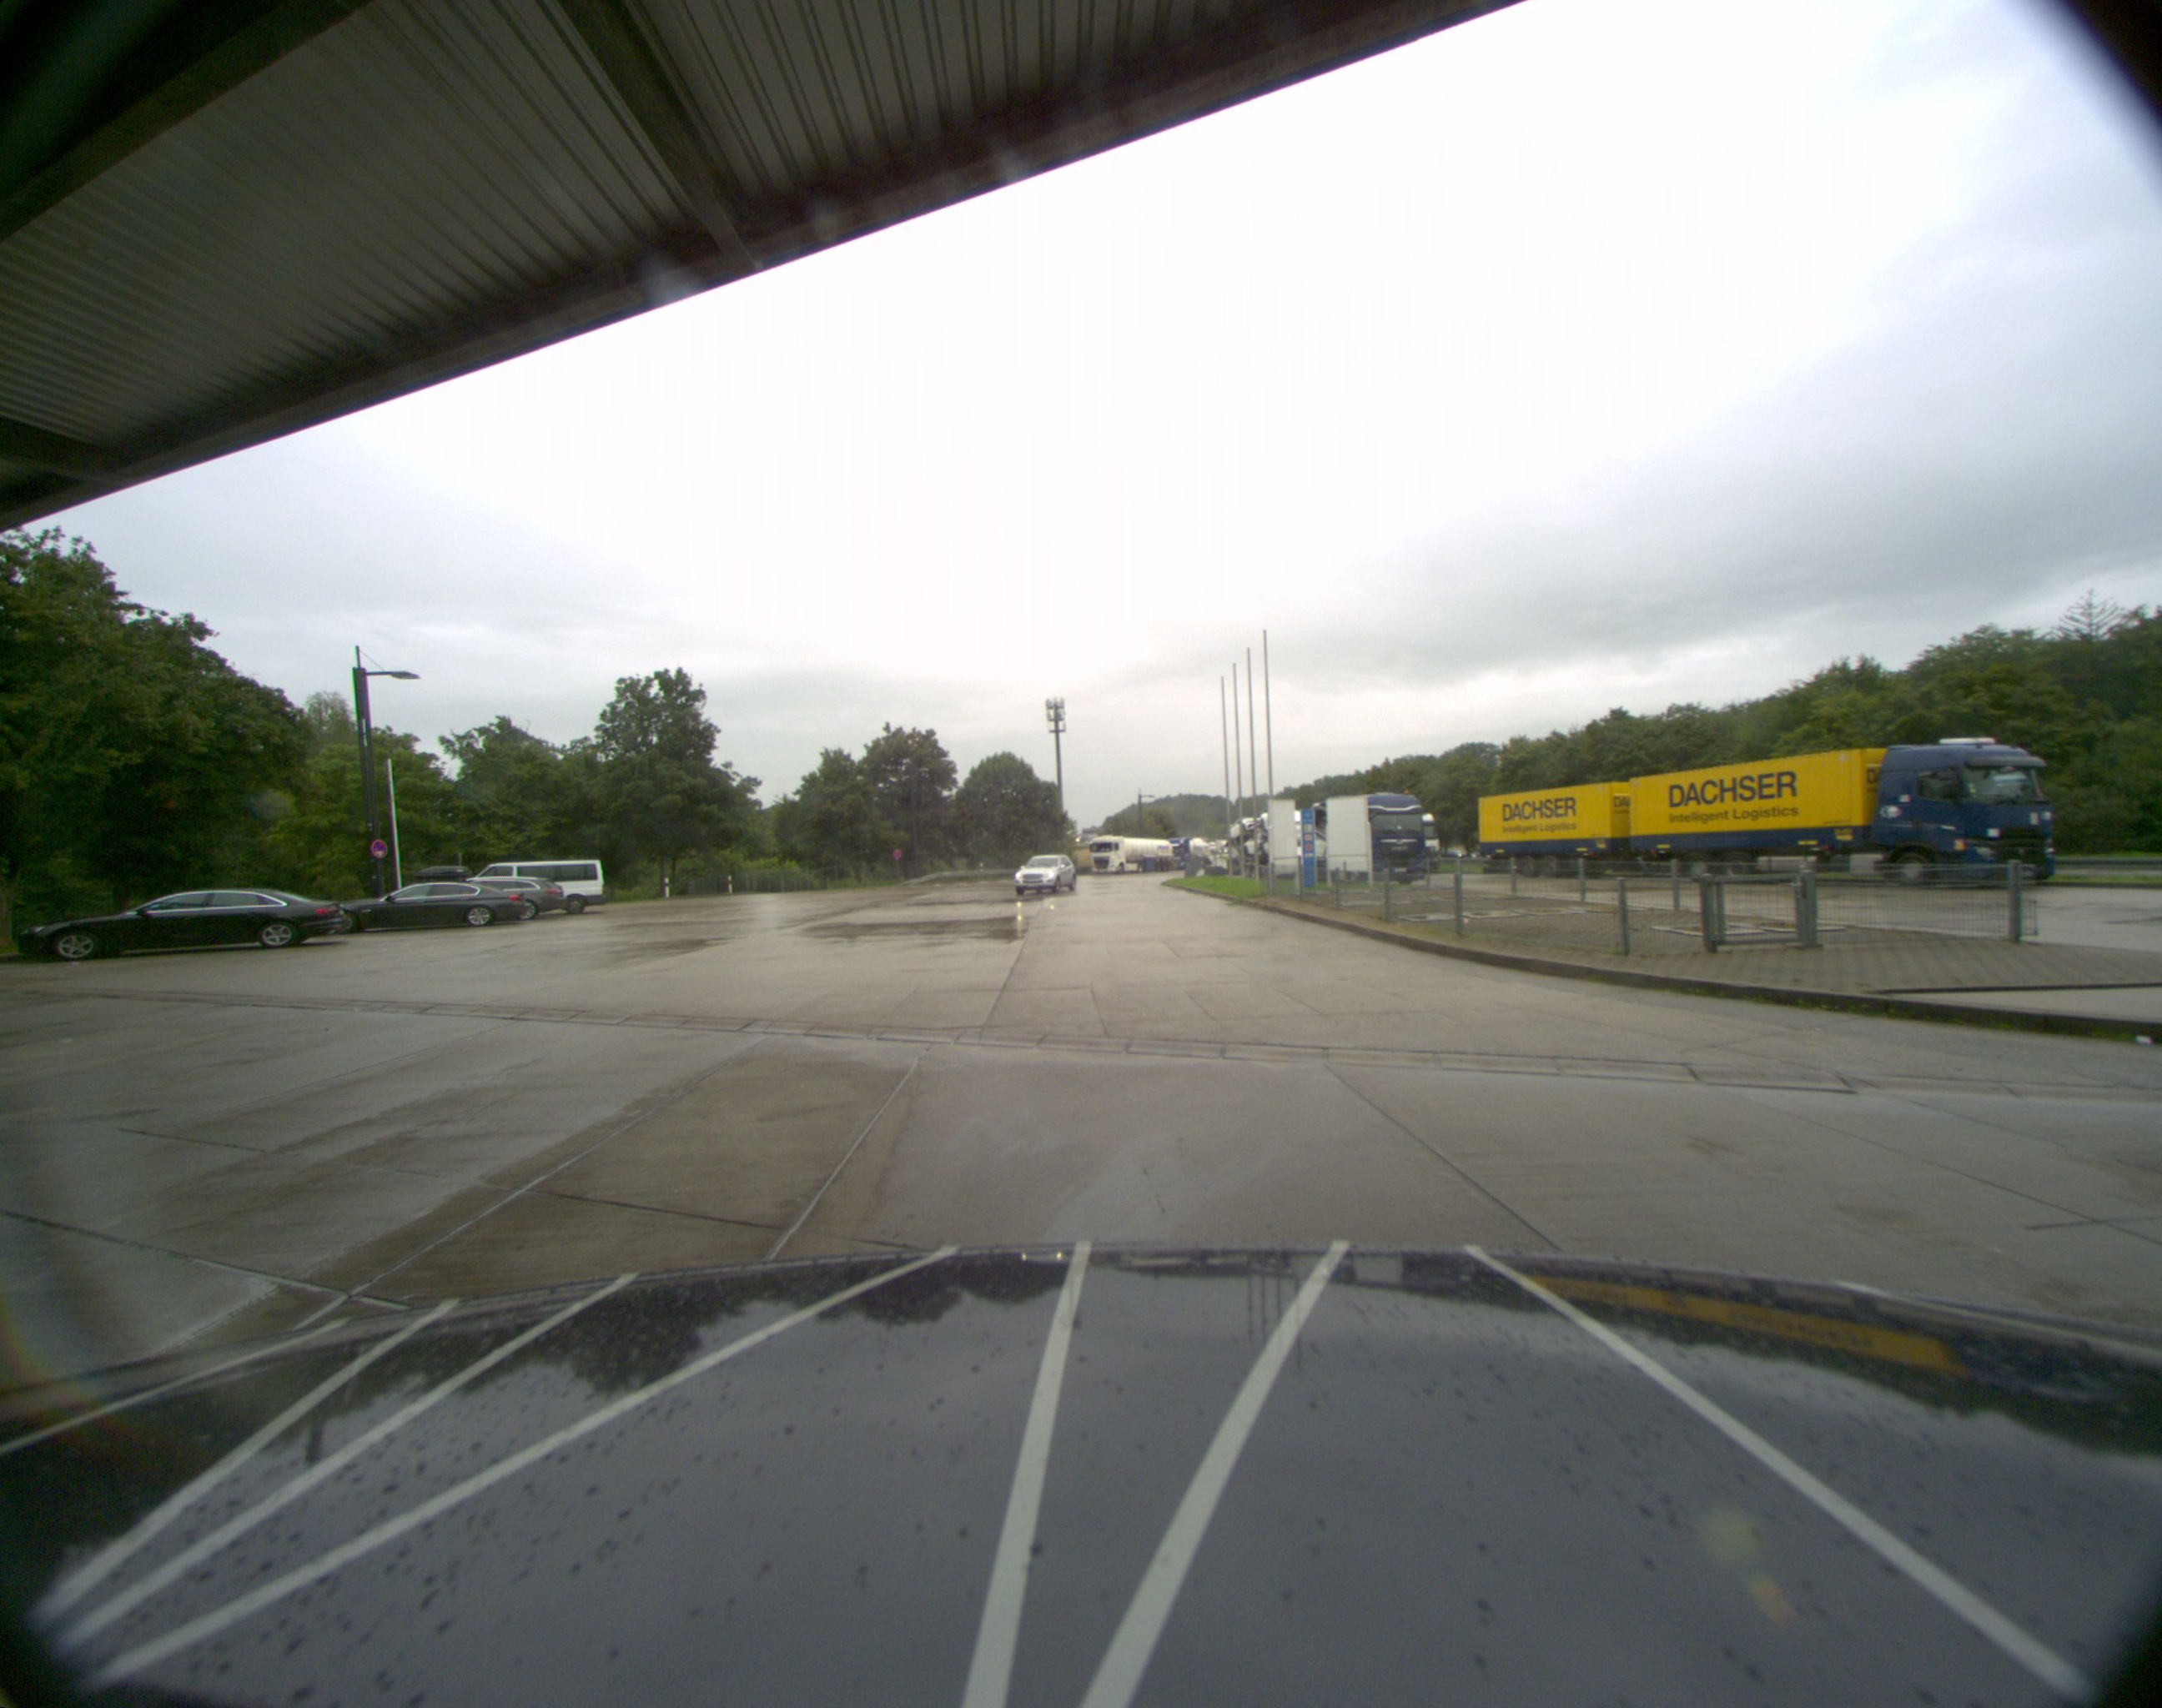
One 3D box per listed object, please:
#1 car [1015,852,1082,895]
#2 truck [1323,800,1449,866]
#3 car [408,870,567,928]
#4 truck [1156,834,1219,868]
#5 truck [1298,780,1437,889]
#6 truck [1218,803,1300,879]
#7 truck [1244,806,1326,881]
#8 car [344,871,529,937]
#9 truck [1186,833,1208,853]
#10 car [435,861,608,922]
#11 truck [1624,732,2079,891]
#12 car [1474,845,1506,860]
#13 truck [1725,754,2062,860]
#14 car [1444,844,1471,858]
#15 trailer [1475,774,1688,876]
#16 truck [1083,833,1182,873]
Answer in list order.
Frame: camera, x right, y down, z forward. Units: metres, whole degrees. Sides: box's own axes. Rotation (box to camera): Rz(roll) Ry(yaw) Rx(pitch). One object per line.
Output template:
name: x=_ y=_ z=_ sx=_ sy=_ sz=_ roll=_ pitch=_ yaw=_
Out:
car: x=-1.420 y=0.845 z=35.062 sx=1.864 sy=1.788 sz=4.544 roll=-2 pitch=0 yaw=13
truck: x=19.890 y=-1.291 z=50.570 sx=2.757 sy=3.894 sz=10.678 roll=-2 pitch=1 yaw=-8
car: x=-19.467 y=1.427 z=25.163 sx=4.007 sy=1.650 sz=1.596 roll=-2 pitch=0 yaw=-35
truck: x=12.790 y=-0.397 z=89.692 sx=3.506 sy=3.584 sz=14.686 roll=-2 pitch=0 yaw=23
truck: x=12.189 y=-0.790 z=33.182 sx=2.665 sy=4.157 sz=7.103 roll=-2 pitch=0 yaw=-6
truck: x=10.577 y=-0.721 z=45.781 sx=2.665 sy=4.157 sz=6.618 roll=-2 pitch=1 yaw=-6
truck: x=11.053 y=-0.552 z=41.590 sx=2.665 sy=3.750 sz=4.747 roll=-2 pitch=1 yaw=-6
car: x=-18.871 y=1.395 z=22.511 sx=4.007 sy=1.650 sz=1.596 roll=-2 pitch=0 yaw=-35
truck: x=30.877 y=-2.946 z=203.260 sx=3.145 sy=5.092 sz=11.515 roll=-2 pitch=1 yaw=-5
car: x=-20.422 y=1.289 z=28.000 sx=4.898 sy=1.938 sz=2.310 roll=-2 pitch=0 yaw=-35
truck: x=23.159 y=-1.120 z=24.328 sx=2.757 sy=3.894 sz=10.678 roll=-2 pitch=1 yaw=-8
car: x=52.623 y=-0.242 z=97.871 sx=1.889 sy=1.813 sz=3.999 roll=-2 pitch=1 yaw=1
truck: x=33.916 y=-1.751 z=32.714 sx=2.421 sy=3.785 sz=10.223 roll=-2 pitch=1 yaw=-10
car: x=54.642 y=-0.460 z=110.390 sx=1.889 sy=1.813 sz=3.999 roll=-2 pitch=1 yaw=-2
trailer: x=21.798 y=-1.177 z=33.949 sx=2.757 sy=3.894 sz=8.700 roll=-2 pitch=1 yaw=-9
truck: x=5.462 y=-0.156 z=75.211 sx=3.505 sy=3.584 sz=14.426 roll=-2 pitch=0 yaw=31
